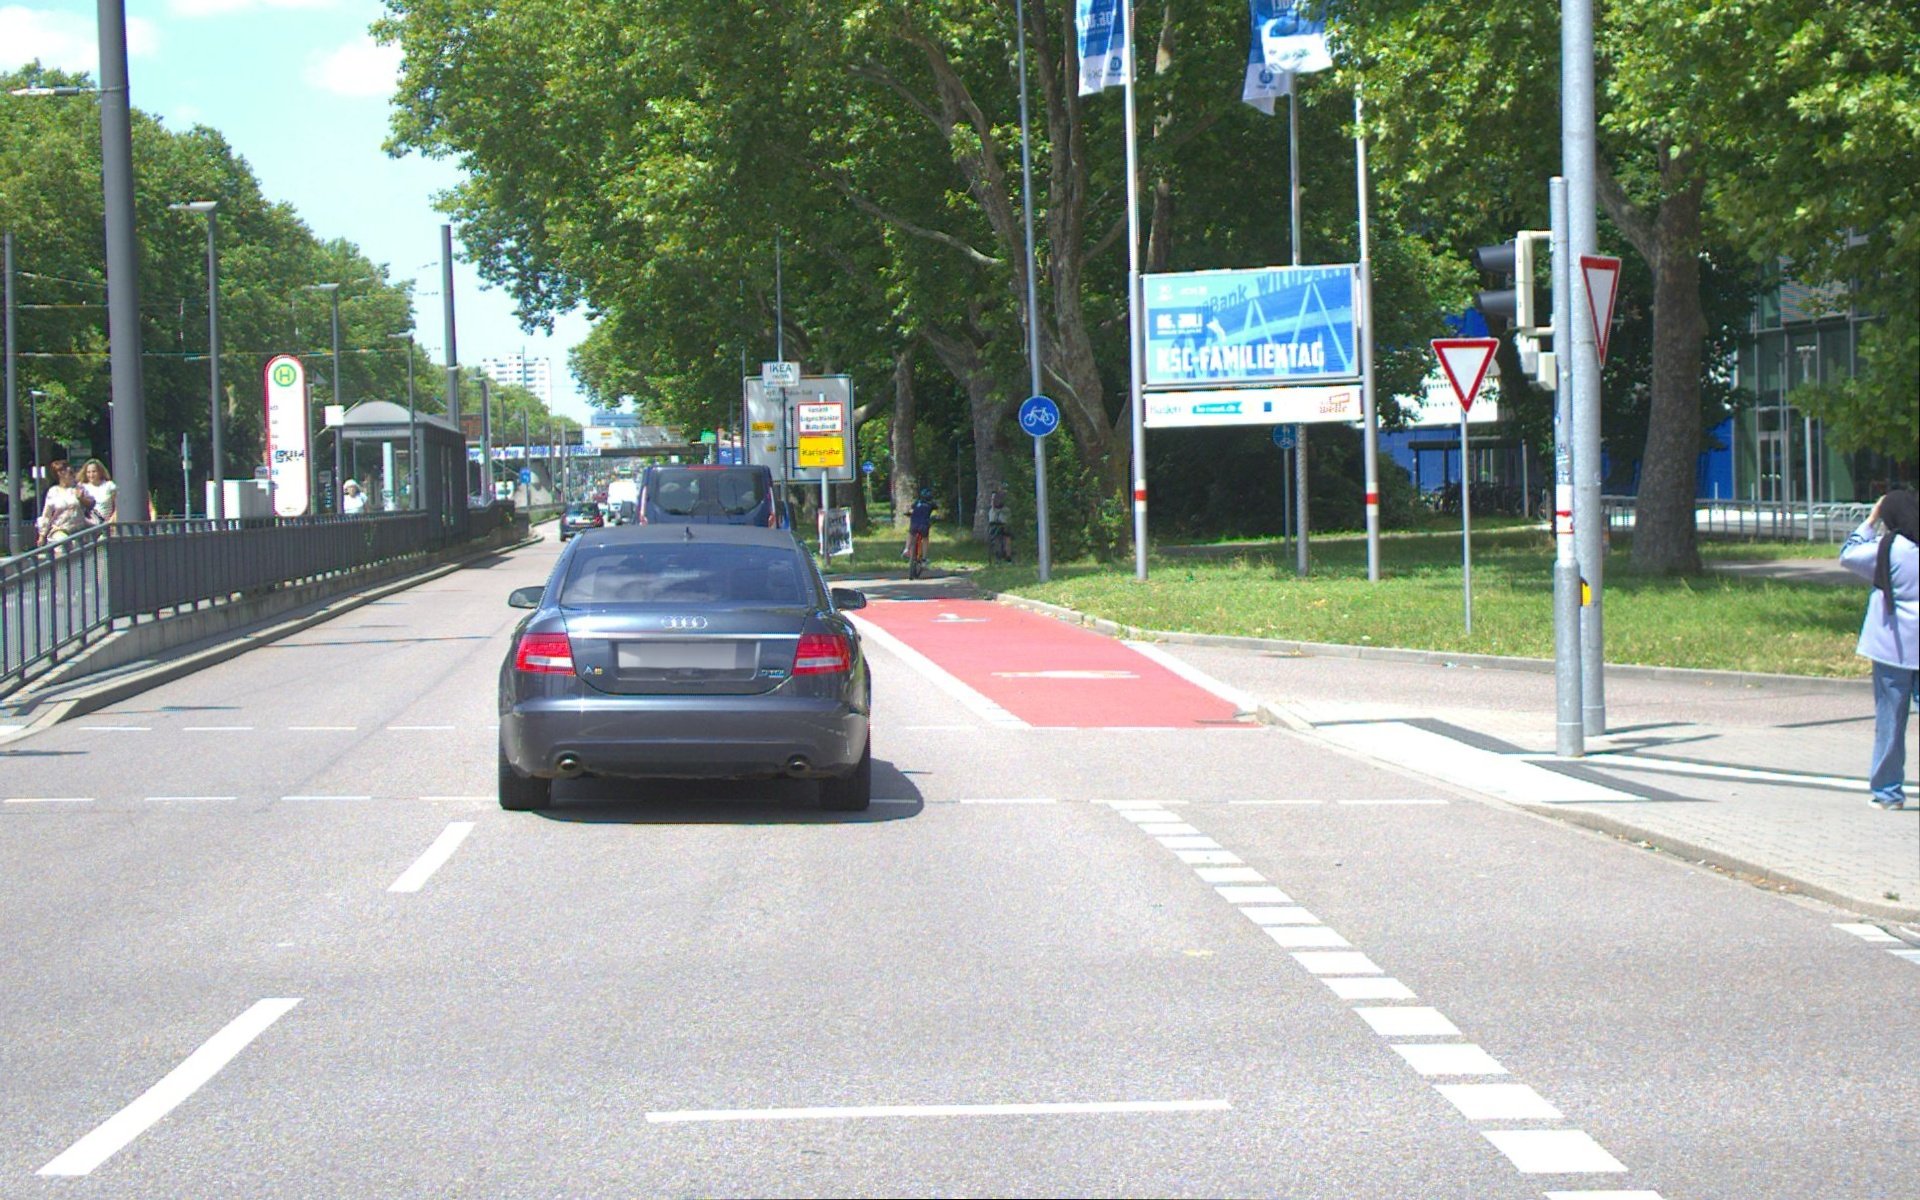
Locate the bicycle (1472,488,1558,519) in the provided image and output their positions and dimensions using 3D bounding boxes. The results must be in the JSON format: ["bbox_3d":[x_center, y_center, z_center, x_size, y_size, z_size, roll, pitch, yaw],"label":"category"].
[{"bbox_3d":[17.364,-3.022,107.520,2.545,0.967,0.759,-1,2,-9],"label":"bicycle"}]

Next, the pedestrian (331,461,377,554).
[{"bbox_3d":[-10.883,-1.667,61.740,0.732,1.659,0.742,-1,2,-6],"label":"pedestrian"}]

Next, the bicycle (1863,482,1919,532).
[{"bbox_3d":[19.215,-1.877,68.760,2.059,0.965,0.869,-1,2,-8],"label":"bicycle"}]

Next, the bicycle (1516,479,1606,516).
[{"bbox_3d":[17.977,-3.072,102.815,2.545,1.107,0.759,-1,2,-9],"label":"bicycle"}]

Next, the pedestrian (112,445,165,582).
[{"bbox_3d":[-9.539,-1.009,39.938,0.497,1.572,0.557,-1,2,-6],"label":"pedestrian"}]

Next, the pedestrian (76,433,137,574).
[{"bbox_3d":[-10.231,-1.159,41.209,0.613,1.675,0.720,0,2,-7],"label":"pedestrian"}]

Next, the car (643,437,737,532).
[{"bbox_3d":[-5.658,-2.439,72.417,1.848,1.952,4.145,0,2,-3],"label":"car"}]

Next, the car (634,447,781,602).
[{"bbox_3d":[-3.279,-1.023,45.274,1.848,1.952,4.145,0,2,-3],"label":"car"}]

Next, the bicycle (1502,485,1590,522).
[{"bbox_3d":[17.899,-2.945,105.031,2.545,1.107,0.759,-1,2,-9],"label":"bicycle"}]

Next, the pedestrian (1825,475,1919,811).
[{"bbox_3d":[4.631,0.190,16.784,0.765,1.600,0.896,0,2,13],"label":"pedestrian"}]

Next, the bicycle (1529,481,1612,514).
[{"bbox_3d":[18.061,-3.039,101.704,2.315,0.957,0.759,-1,2,-9],"label":"bicycle"}]

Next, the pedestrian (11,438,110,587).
[{"bbox_3d":[-9.853,-0.971,37.682,0.890,1.599,0.924,-1,2,-6],"label":"pedestrian"}]

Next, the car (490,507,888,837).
[{"bbox_3d":[-1.513,0.277,18.023,1.842,1.479,4.001,-1,2,-7],"label":"car"}]
